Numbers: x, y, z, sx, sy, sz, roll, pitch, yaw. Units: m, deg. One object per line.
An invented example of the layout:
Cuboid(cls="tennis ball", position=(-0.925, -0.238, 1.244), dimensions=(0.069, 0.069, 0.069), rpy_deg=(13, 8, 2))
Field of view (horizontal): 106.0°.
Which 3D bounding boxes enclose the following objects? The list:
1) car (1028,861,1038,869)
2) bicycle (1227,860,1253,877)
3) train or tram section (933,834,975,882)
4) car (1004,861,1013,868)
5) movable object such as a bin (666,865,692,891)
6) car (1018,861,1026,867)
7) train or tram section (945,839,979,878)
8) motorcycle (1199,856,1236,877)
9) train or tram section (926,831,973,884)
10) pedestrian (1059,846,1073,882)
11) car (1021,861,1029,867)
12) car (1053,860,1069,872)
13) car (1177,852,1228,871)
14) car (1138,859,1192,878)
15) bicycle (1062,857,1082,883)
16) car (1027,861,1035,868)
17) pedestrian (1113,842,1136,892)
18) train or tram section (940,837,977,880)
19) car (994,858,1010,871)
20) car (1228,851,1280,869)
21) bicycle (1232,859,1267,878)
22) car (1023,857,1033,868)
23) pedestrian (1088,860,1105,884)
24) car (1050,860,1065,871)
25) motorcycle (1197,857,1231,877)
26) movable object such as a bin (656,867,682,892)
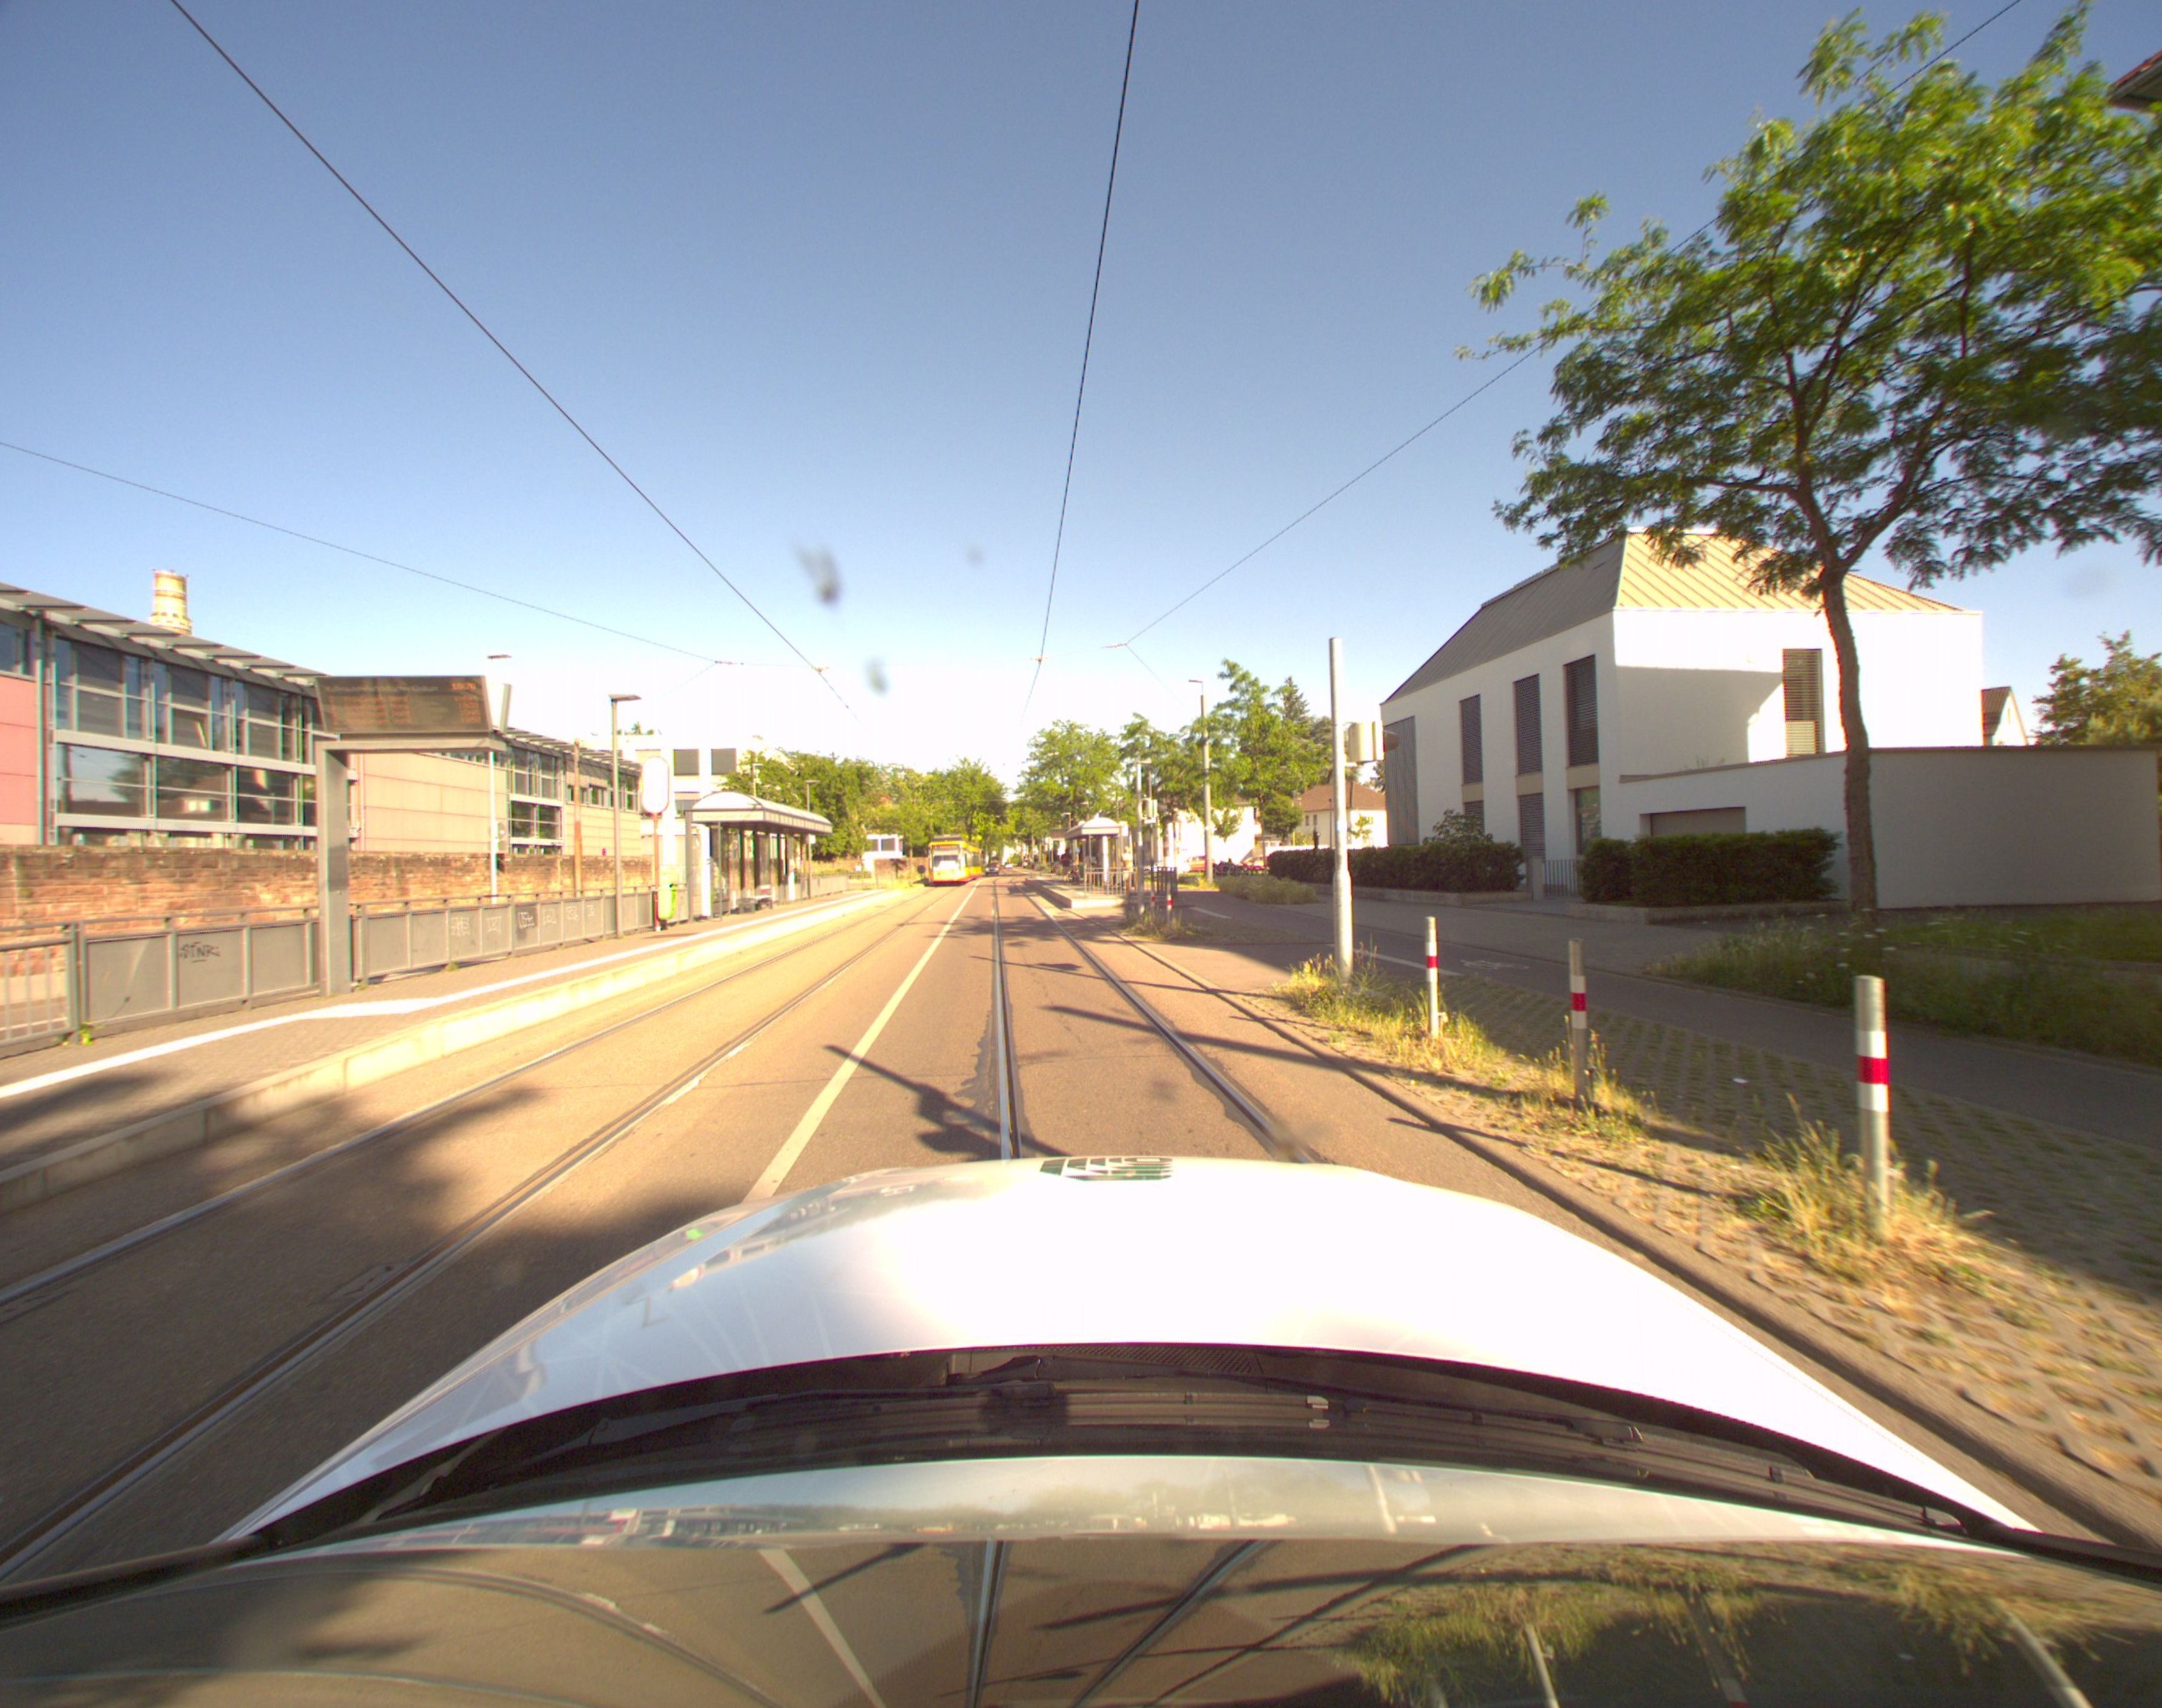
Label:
Cuboid(cls="car", position=(-10.332, 2.344, 175.496), dimensions=(1.783, 1.448, 4.289), rpy_deg=(-5, 0, -8))
Cuboid(cls="bicycle", position=(9.337, 0.844, 47.838), dimensions=(1.471, 0.979, 0.414), rpy_deg=(-2, -1, -13))
Cuboid(cls="train or tram section", position=(-9.735, 0.306, 63.207), dimensions=(2.800, 3.460, 6.654), rpy_deg=(-1, 0, -6))
Cuboid(cls="car", position=(-17.285, 2.516, 194.413), dimensions=(1.863, 1.675, 4.165), rpy_deg=(-2, 0, -5))
Cuboid(cls="movable object such as a bin", position=(-22.935, 1.341, 46.495), dimensions=(0.880, 1.447, 1.306), rpy_deg=(-2, -1, -7))
Cuboid(cls="car", position=(-18.525, 3.079, 255.715), dimensions=(1.998, 1.675, 4.388), rpy_deg=(-4, 0, -2))
Cuboid(cls="train or tram section", position=(-11.083, 0.405, 76.455), dimensions=(2.800, 3.460, 6.654), rpy_deg=(-1, 0, -6))
Cuboid(cls="motorcycle", position=(8.571, 0.778, 51.191), dimensions=(2.079, 1.274, 0.858), rpy_deg=(-2, -1, -13))
Cuboid(cls="train or tram section", position=(-9.053, 0.254, 56.569), dimensions=(2.800, 3.460, 6.654), rpy_deg=(-1, 0, -6))
Cuboid(cls="pedestrian", position=(-0.775, 0.522, 42.265), dimensions=(0.710, 1.853, 0.728), rpy_deg=(0, -1, -5))
Cuboid(cls="car", position=(-16.495, 2.915, 238.326), dimensions=(2.001, 1.675, 4.382), rpy_deg=(-4, 0, -6))
Cuboid(cls="car", position=(-2.803, 1.627, 111.127), dimensions=(1.746, 1.495, 4.433), rpy_deg=(-3, 0, -6))
Cuboid(cls="car", position=(10.991, 0.697, 73.840), dimensions=(4.160, 1.642, 1.976), rpy_deg=(-1, -1, -8))
Cuboid(cls="car", position=(7.340, 1.298, 71.225), dimensions=(4.582, 1.466, 1.984), rpy_deg=(-2, -2, 4))
Cuboid(cls="bicycle", position=(-0.456, 0.796, 39.773), dimensions=(0.620, 1.229, 1.960), rpy_deg=(-1, -1, -10))
Cuboid(cls="car", position=(-11.327, 2.404, 185.214), dimensions=(1.625, 1.397, 3.637), rpy_deg=(-5, 0, -7))
Cuboid(cls="pedestrian", position=(1.510, 0.437, 28.138), dimensions=(0.671, 1.704, 0.689), rpy_deg=(0, -1, -7))
Cuboid(cls="train or tram section", position=(-10.417, 0.359, 69.850), dimensions=(2.800, 3.460, 6.654), rpy_deg=(-1, 0, -6))
Cuboid(cls="car", position=(-10.414, 1.373, 107.946), dimensions=(1.760, 1.663, 4.207), rpy_deg=(-2, 0, -2))
Cuboid(cls="car", position=(15.898, 0.563, 74.909), dimensions=(4.167, 1.508, 1.973), rpy_deg=(-1, -1, -13))
Cuboid(cls="bicycle", position=(9.596, 0.825, 46.378), dimensions=(1.899, 0.979, 0.489), rpy_deg=(-2, -1, -13))
Cuboid(cls="car", position=(-13.448, 2.118, 206.182), dimensions=(2.243, 2.654, 5.572), rpy_deg=(-2, -1, -6))
Cuboid(cls="pedestrian", position=(0.755, 0.843, 38.845), dimensions=(0.737, 1.117, 0.657), rpy_deg=(0, -1, -7))
Cuboid(cls="car", position=(-3.450, 1.669, 117.394), dimensions=(1.746, 1.495, 3.987), rpy_deg=(-3, 0, -6))
Cuboid(cls="motorcycle", position=(8.619, 0.838, 52.822), dimensions=(2.000, 1.158, 0.858), rpy_deg=(-2, -1, -13))
Cuboid(cls="movable object such as a bin", position=(-22.617, 1.379, 44.728), dimensions=(0.880, 1.285, 1.306), rpy_deg=(-2, -1, -8))
